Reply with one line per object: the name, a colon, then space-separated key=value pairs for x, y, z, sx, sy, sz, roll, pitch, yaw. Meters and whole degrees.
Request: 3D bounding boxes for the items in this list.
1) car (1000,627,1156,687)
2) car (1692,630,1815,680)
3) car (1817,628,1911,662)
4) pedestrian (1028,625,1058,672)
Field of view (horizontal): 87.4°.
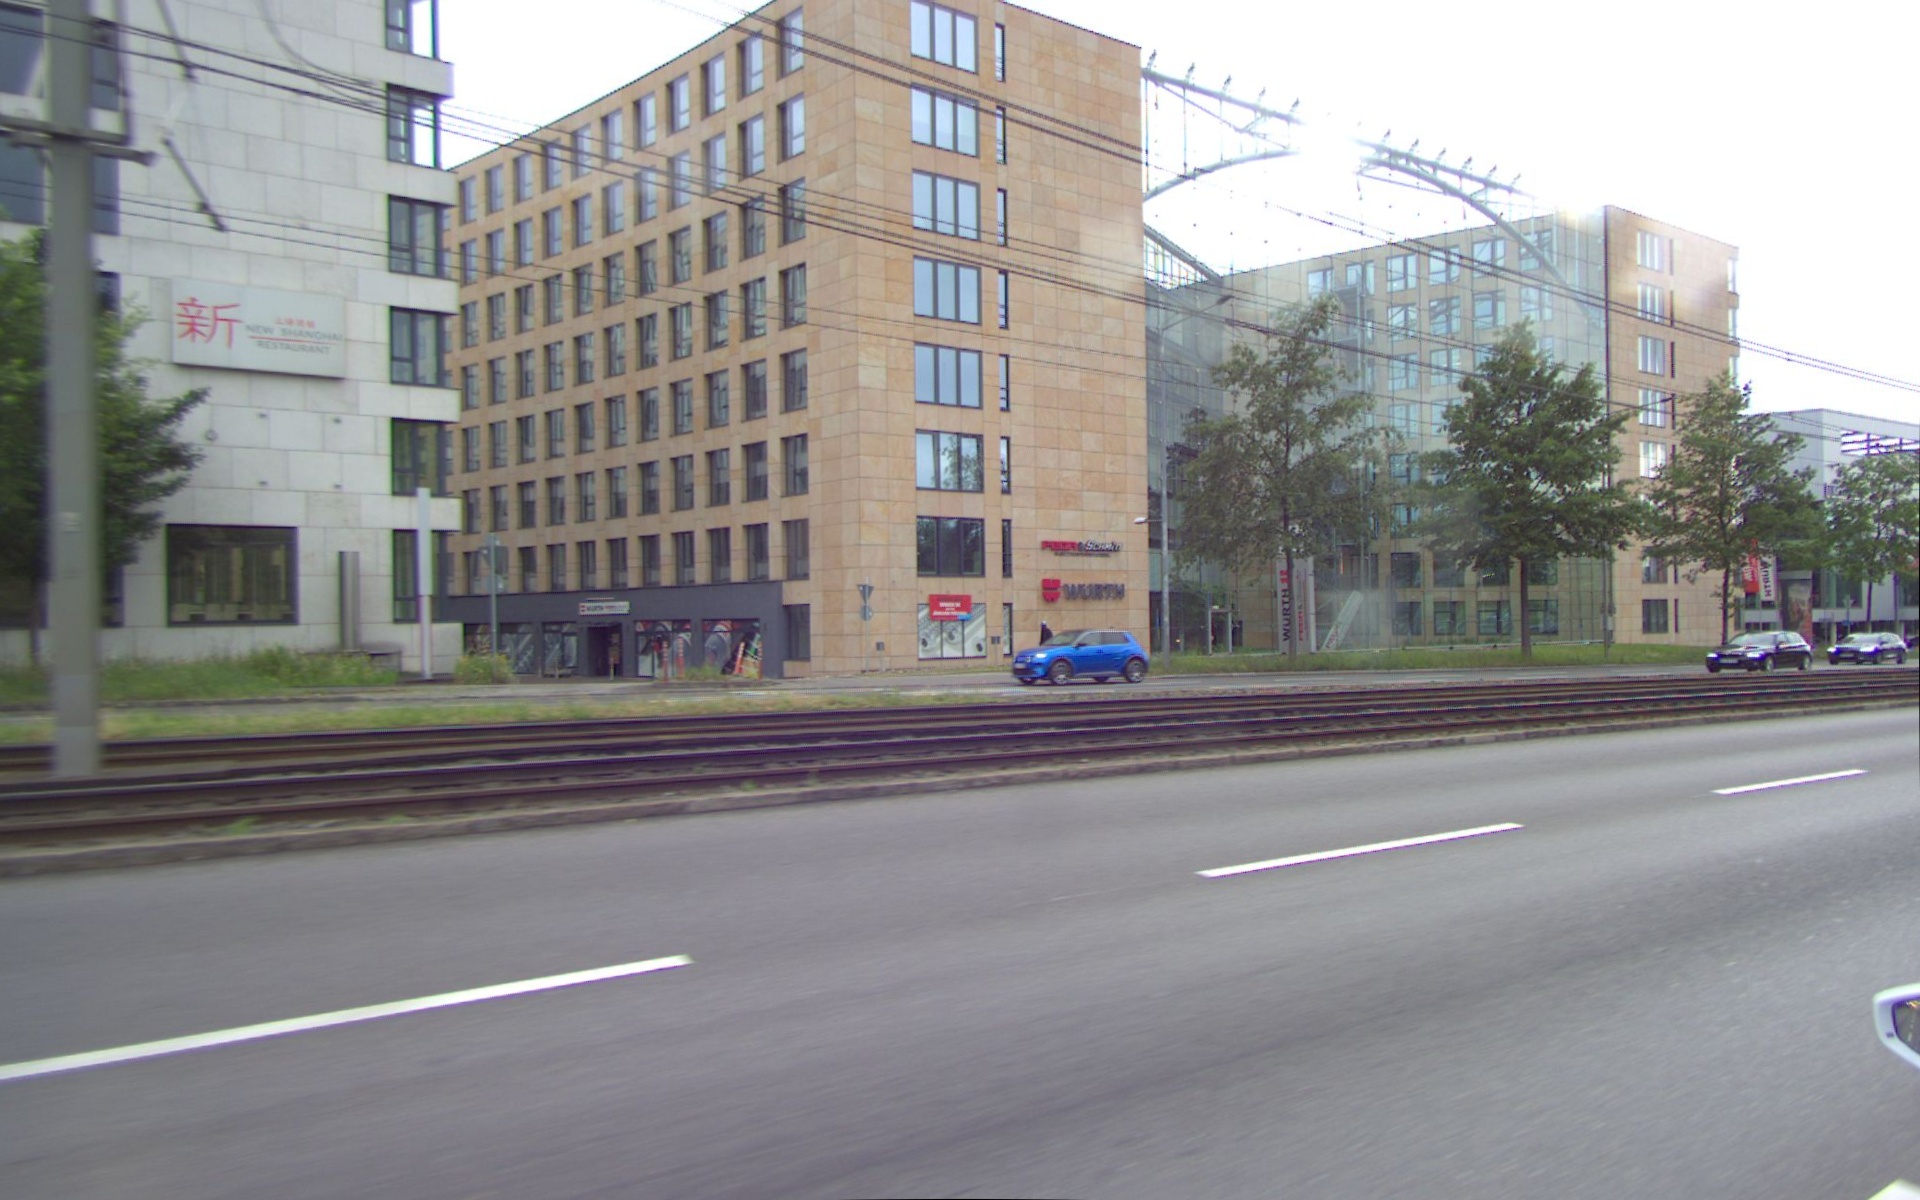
car: x=3.290 y=1.590 z=27.925 sx=3.976 sy=1.473 sz=1.833 roll=3 pitch=-1 yaw=-29
car: x=27.268 y=1.888 z=34.502 sx=4.147 sy=1.521 sz=1.765 roll=3 pitch=-1 yaw=-28
car: x=41.999 y=2.074 z=46.665 sx=4.597 sy=1.505 sz=1.833 roll=1 pitch=-4 yaw=-30
pedestrian: x=3.022 y=1.770 z=36.469 sx=0.823 sy=1.653 sz=0.638 roll=3 pitch=-1 yaw=-32
